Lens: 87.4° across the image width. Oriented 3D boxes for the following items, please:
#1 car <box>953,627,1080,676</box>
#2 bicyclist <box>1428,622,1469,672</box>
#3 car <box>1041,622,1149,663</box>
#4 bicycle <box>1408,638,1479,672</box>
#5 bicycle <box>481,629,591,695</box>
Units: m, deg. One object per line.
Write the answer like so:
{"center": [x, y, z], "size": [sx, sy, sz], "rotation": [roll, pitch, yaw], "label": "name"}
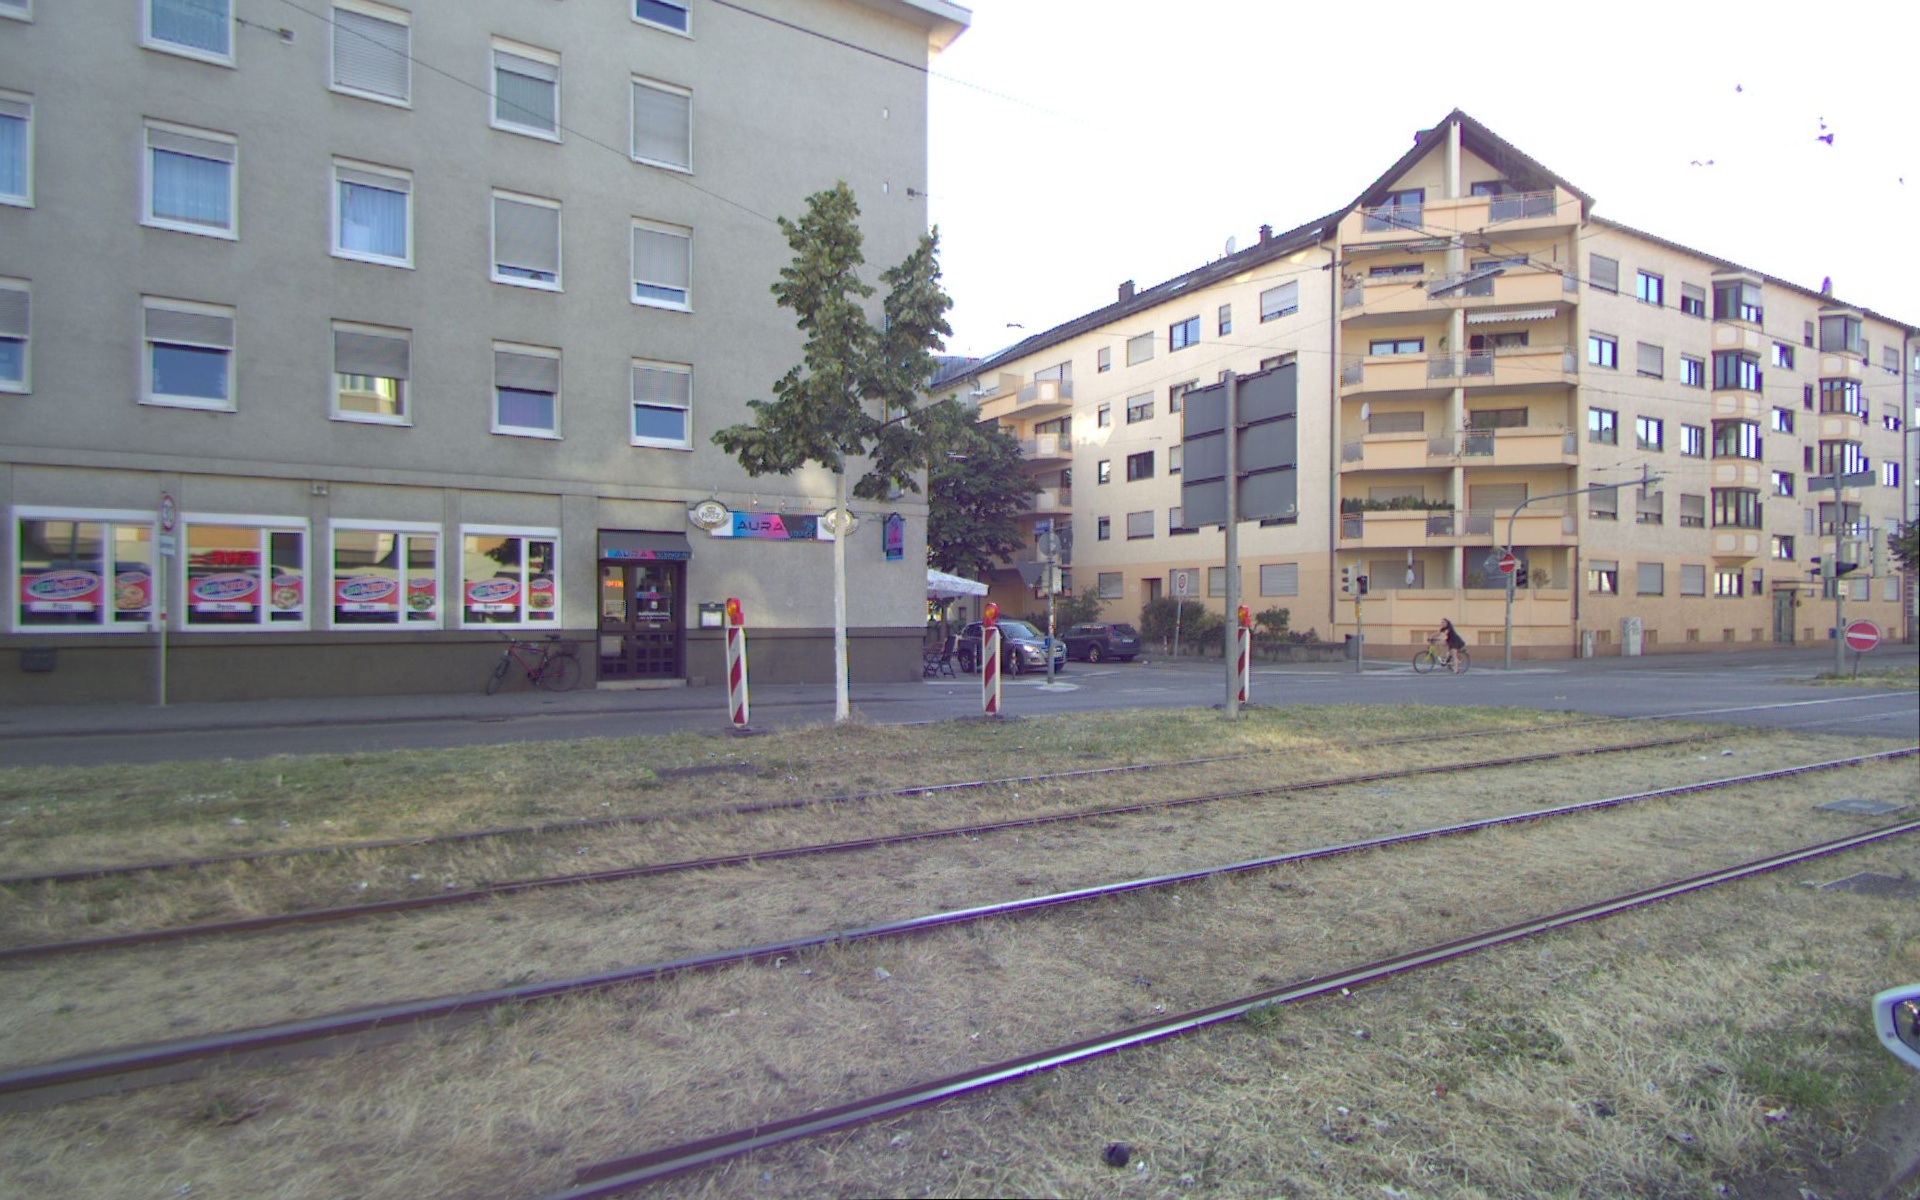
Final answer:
{"center": [1.729, 1.582, 31.767], "size": [1.751, 1.406, 4.074], "rotation": [1, -1, -39], "label": "car"}
{"center": [14.498, 1.396, 29.826], "size": [0.946, 1.466, 0.529], "rotation": [0, -1, 1], "label": "bicyclist"}
{"center": [5.054, 1.577, 37.945], "size": [1.776, 1.459, 3.926], "rotation": [1, -2, -39], "label": "car"}
{"center": [14.333, 1.632, 29.805], "size": [1.846, 0.997, 0.529], "rotation": [0, -1, 1], "label": "bicycle"}
{"center": [-7.656, 1.101, 18.161], "size": [1.757, 1.129, 0.743], "rotation": [1, -1, -30], "label": "bicycle"}
